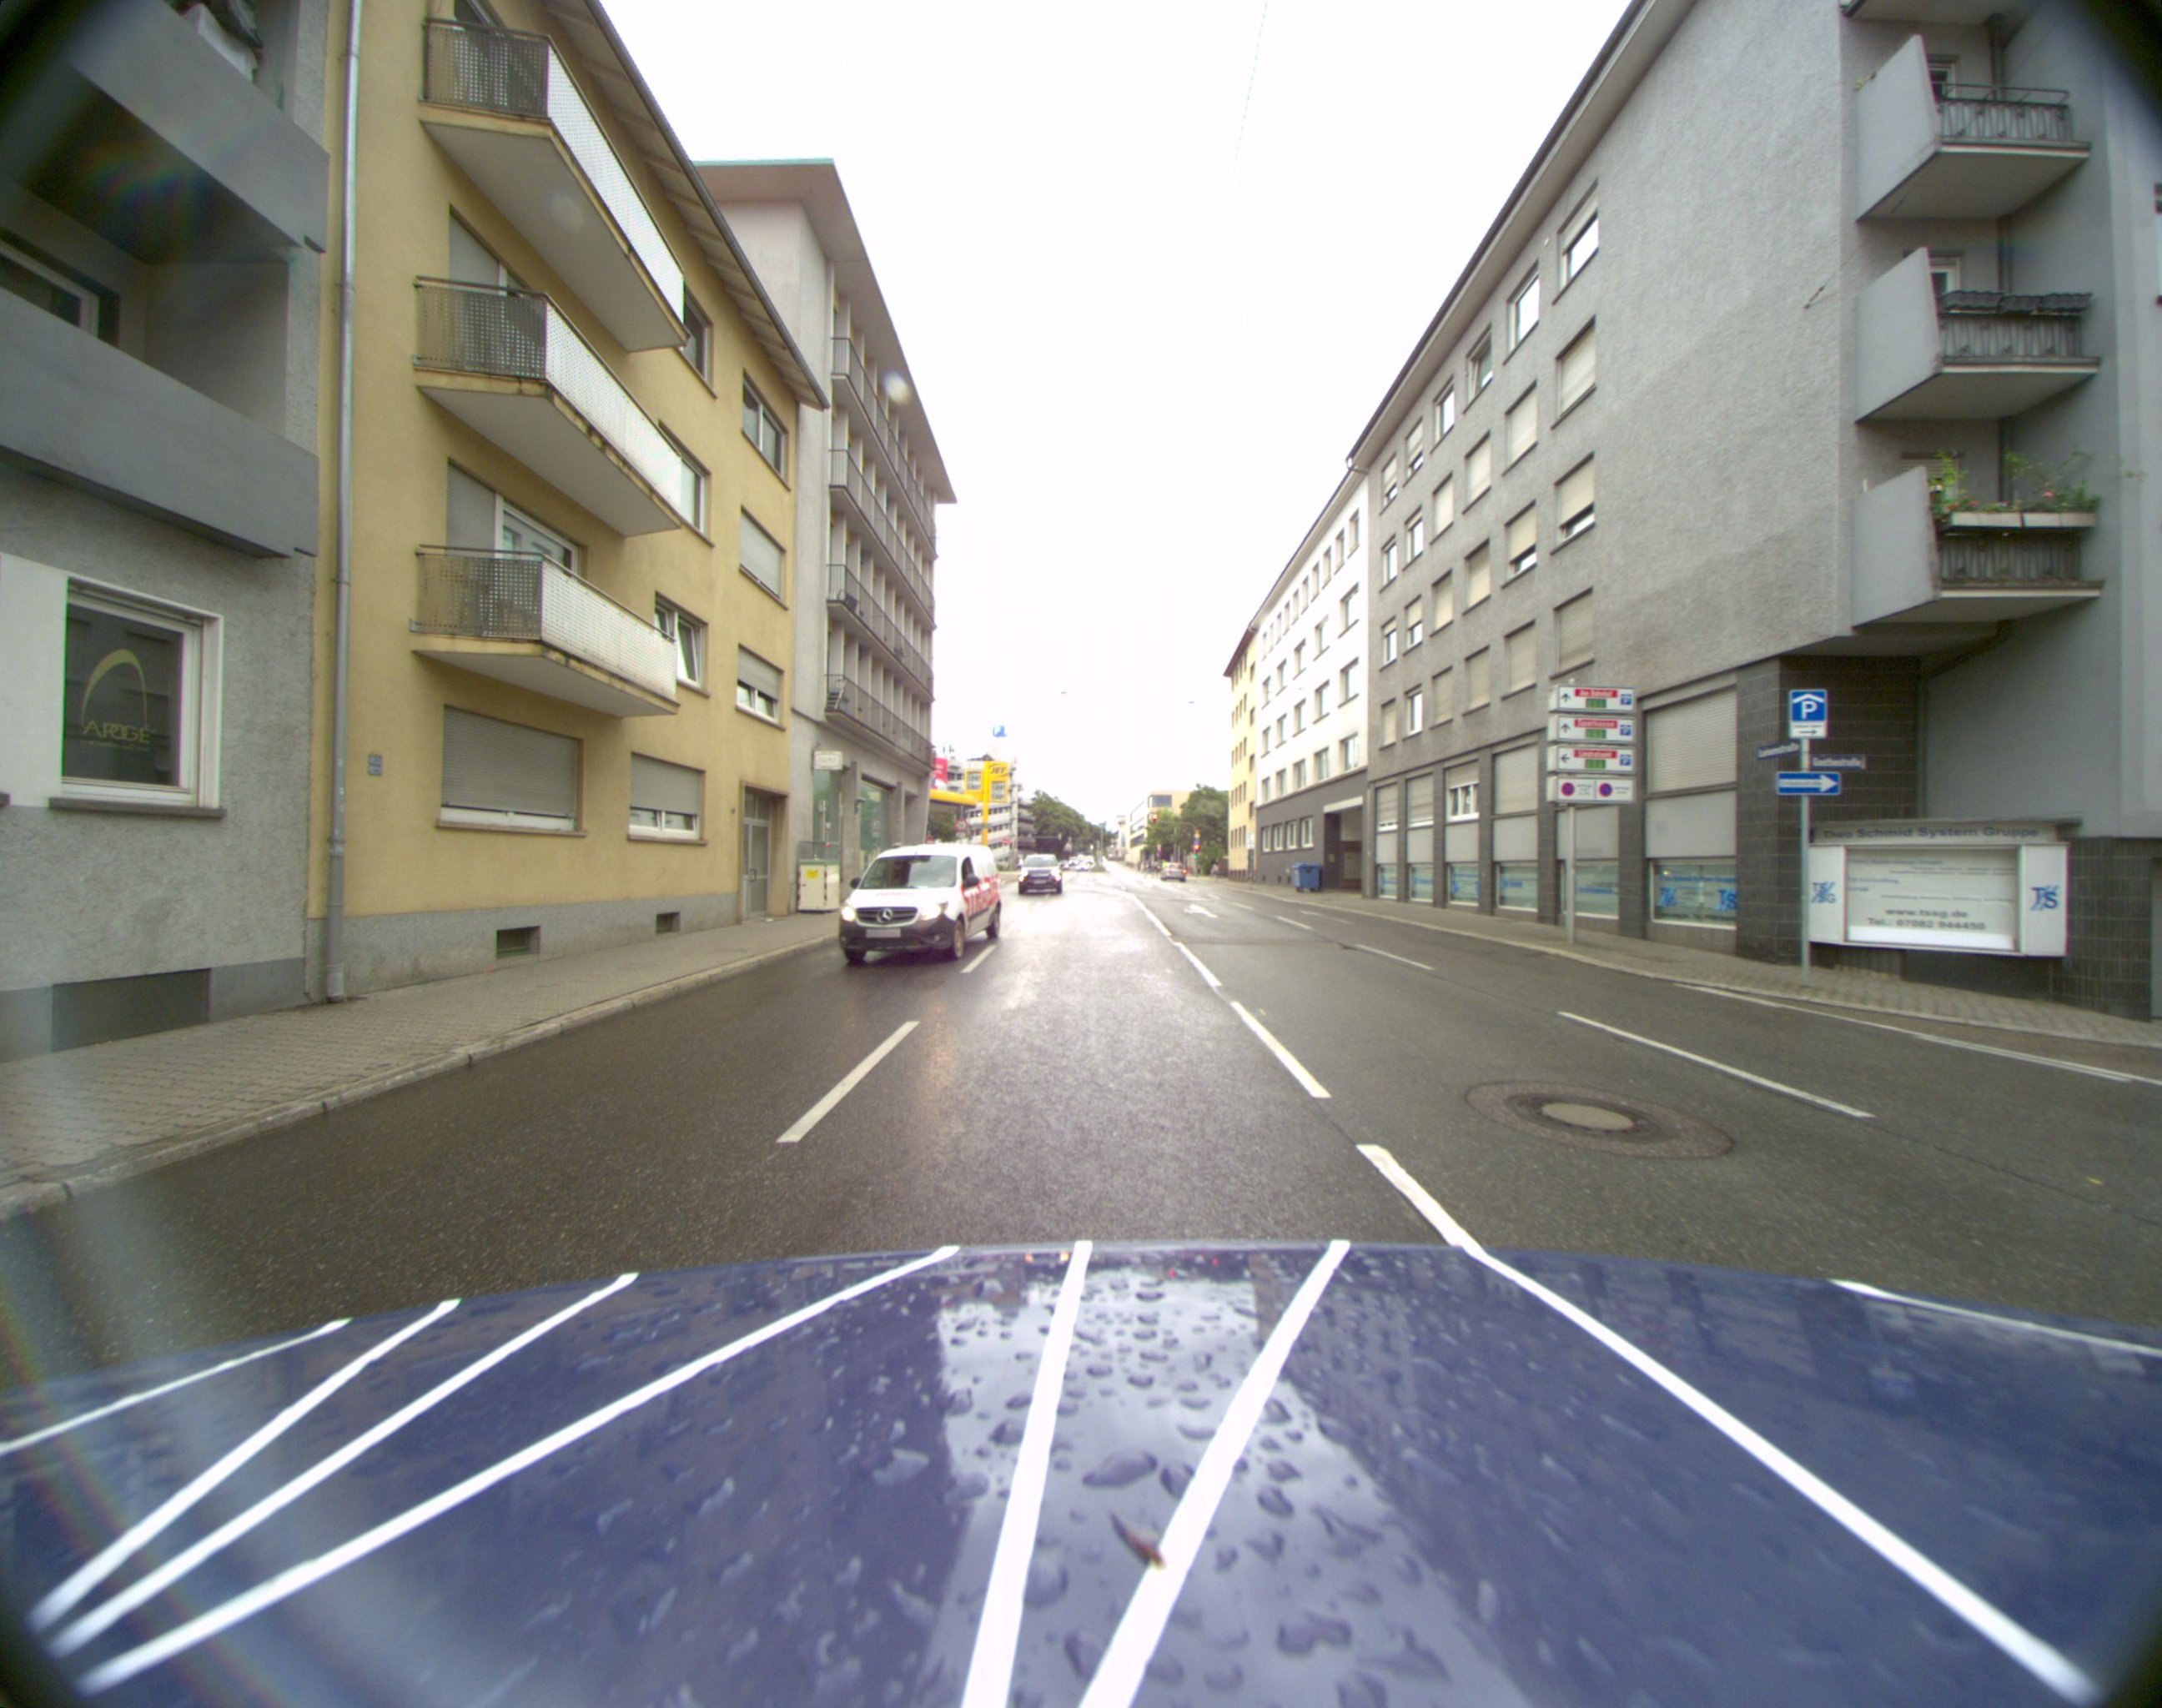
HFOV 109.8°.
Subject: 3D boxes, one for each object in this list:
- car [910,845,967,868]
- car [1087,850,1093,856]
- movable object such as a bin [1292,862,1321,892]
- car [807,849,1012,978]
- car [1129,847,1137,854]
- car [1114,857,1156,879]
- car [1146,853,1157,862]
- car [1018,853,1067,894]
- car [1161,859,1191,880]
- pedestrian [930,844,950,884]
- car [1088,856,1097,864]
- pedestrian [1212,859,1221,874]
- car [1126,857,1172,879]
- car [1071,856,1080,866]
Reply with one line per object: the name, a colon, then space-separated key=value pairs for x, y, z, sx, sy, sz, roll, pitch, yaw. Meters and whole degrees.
car: x=-10.268 y=0.184 z=54.770 sx=3.989 sy=1.465 sz=1.775 roll=-2 pitch=1 yaw=38
car: x=2.865 y=-0.386 z=249.315 sx=1.998 sy=2.002 sz=3.999 roll=-2 pitch=1 yaw=1
movable object such as a bin: x=10.353 y=1.049 z=34.946 sx=0.946 sy=1.325 sz=1.096 roll=-3 pitch=1 yaw=1
car: x=-2.610 y=0.820 z=12.932 sx=1.944 sy=1.764 sz=4.748 roll=-2 pitch=0 yaw=6
car: x=13.074 y=-0.984 z=191.046 sx=1.998 sy=1.683 sz=4.000 roll=-2 pitch=1 yaw=2
car: x=5.042 y=1.291 z=71.381 sx=3.794 sy=1.823 sz=1.692 roll=-3 pitch=0 yaw=2
car: x=15.644 y=0.693 z=168.203 sx=1.998 sy=1.863 sz=3.999 roll=-2 pitch=1 yaw=1
car: x=-1.543 y=0.774 z=32.021 sx=1.771 sy=1.571 sz=4.000 roll=-1 pitch=0 yaw=1
car: x=7.471 y=1.199 z=60.289 sx=1.883 sy=1.580 sz=4.373 roll=0 pitch=0 yaw=1
pedestrian: x=-6.186 y=0.434 z=33.368 sx=0.679 sy=1.745 sz=0.888 roll=1 pitch=1 yaw=2
car: x=2.702 y=1.417 z=180.376 sx=1.998 sy=1.736 sz=3.999 roll=-2 pitch=1 yaw=1
pedestrian: x=10.435 y=0.977 z=58.484 sx=0.582 sy=1.143 sz=0.407 roll=3 pitch=1 yaw=7
car: x=6.164 y=1.256 z=69.153 sx=3.929 sy=1.706 sz=1.902 roll=-3 pitch=0 yaw=2
car: x=-1.233 y=1.526 z=173.176 sx=1.998 sy=2.002 sz=3.999 roll=-2 pitch=1 yaw=1
